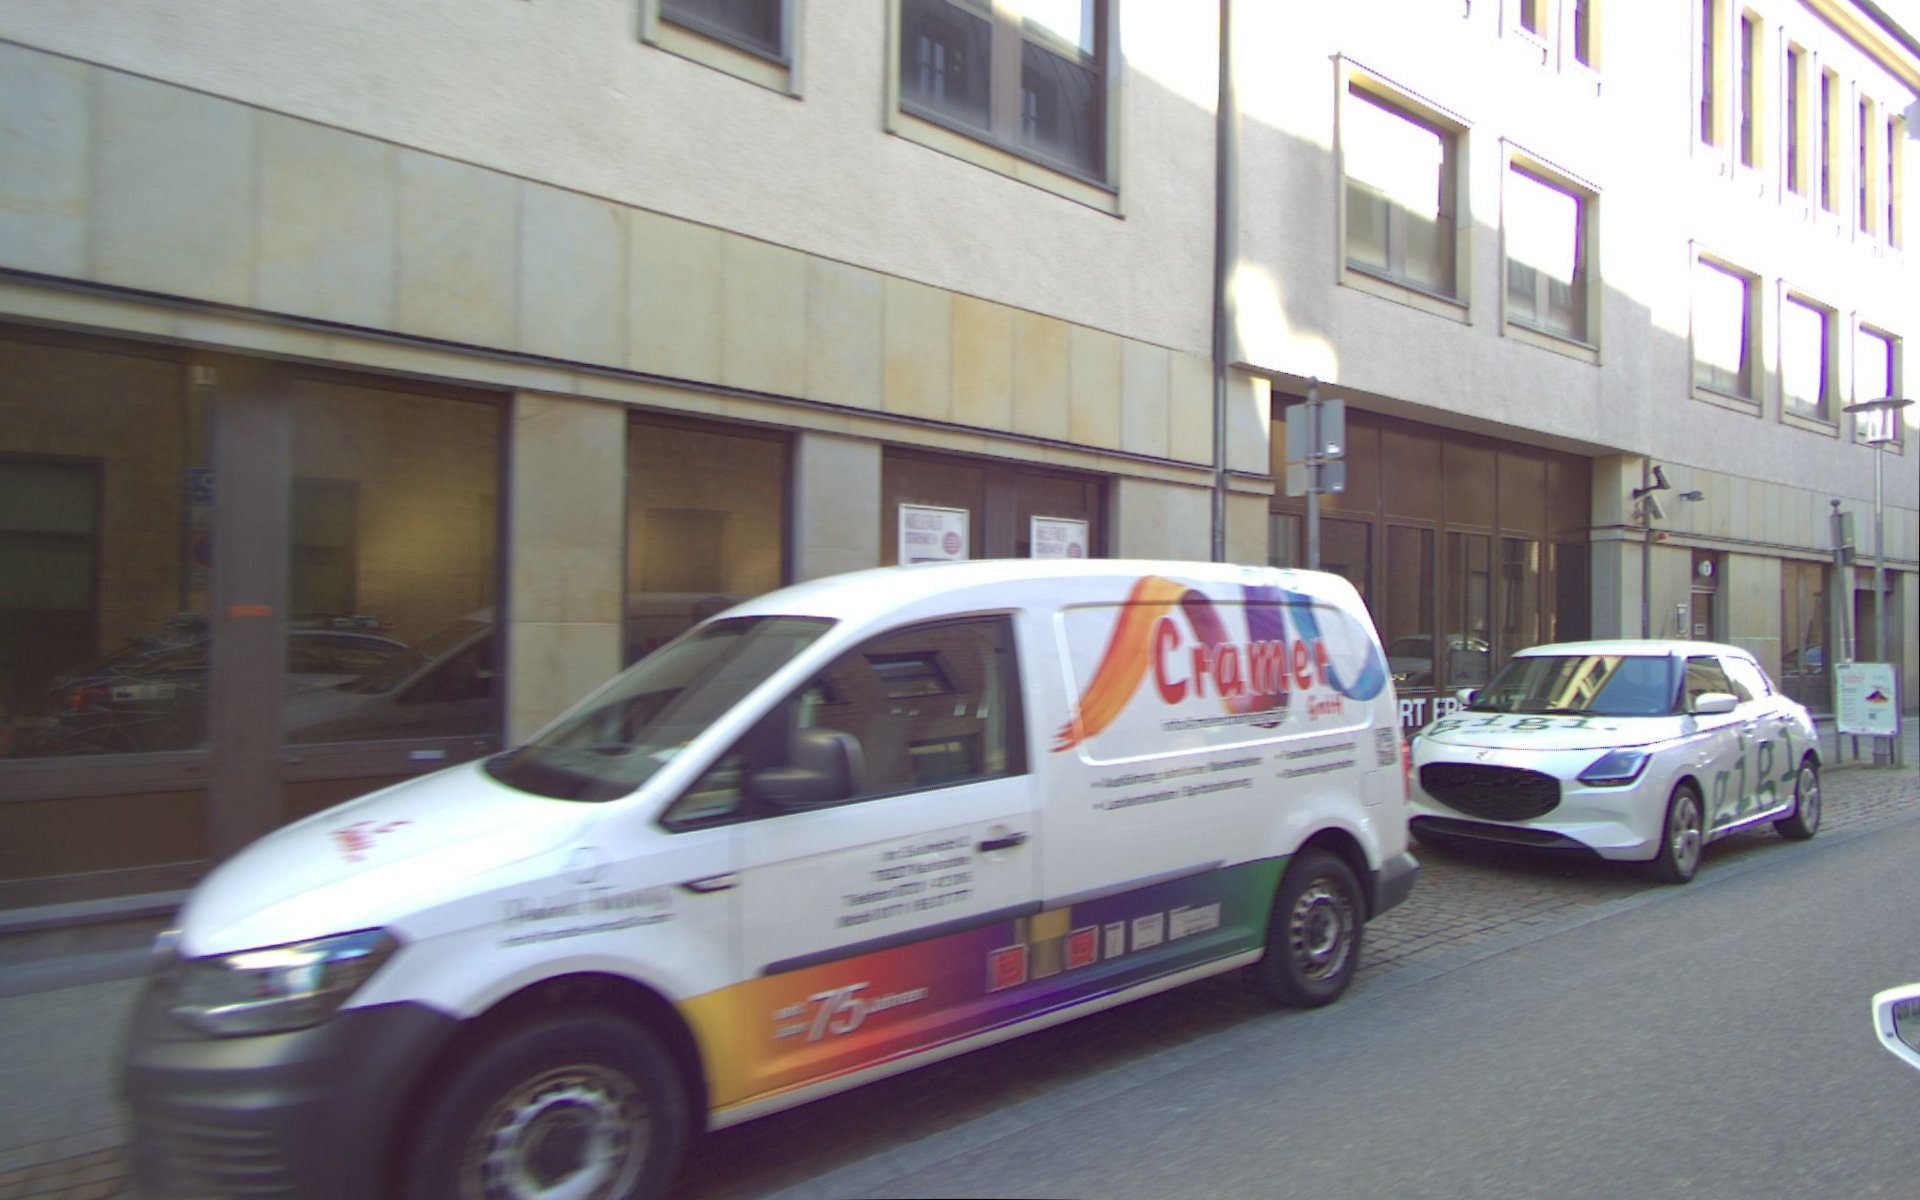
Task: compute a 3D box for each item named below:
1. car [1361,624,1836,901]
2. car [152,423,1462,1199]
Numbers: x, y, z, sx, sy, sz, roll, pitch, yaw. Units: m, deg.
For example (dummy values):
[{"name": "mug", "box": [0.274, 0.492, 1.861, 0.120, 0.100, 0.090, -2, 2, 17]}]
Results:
[{"name": "car", "box": [4.799, 0.994, 7.409, 3.739, 1.542, 1.659, 2, -4, -36]}, {"name": "car", "box": [-0.143, 0.690, 4.039, 4.687, 1.882, 1.887, 1, -3, -36]}]
